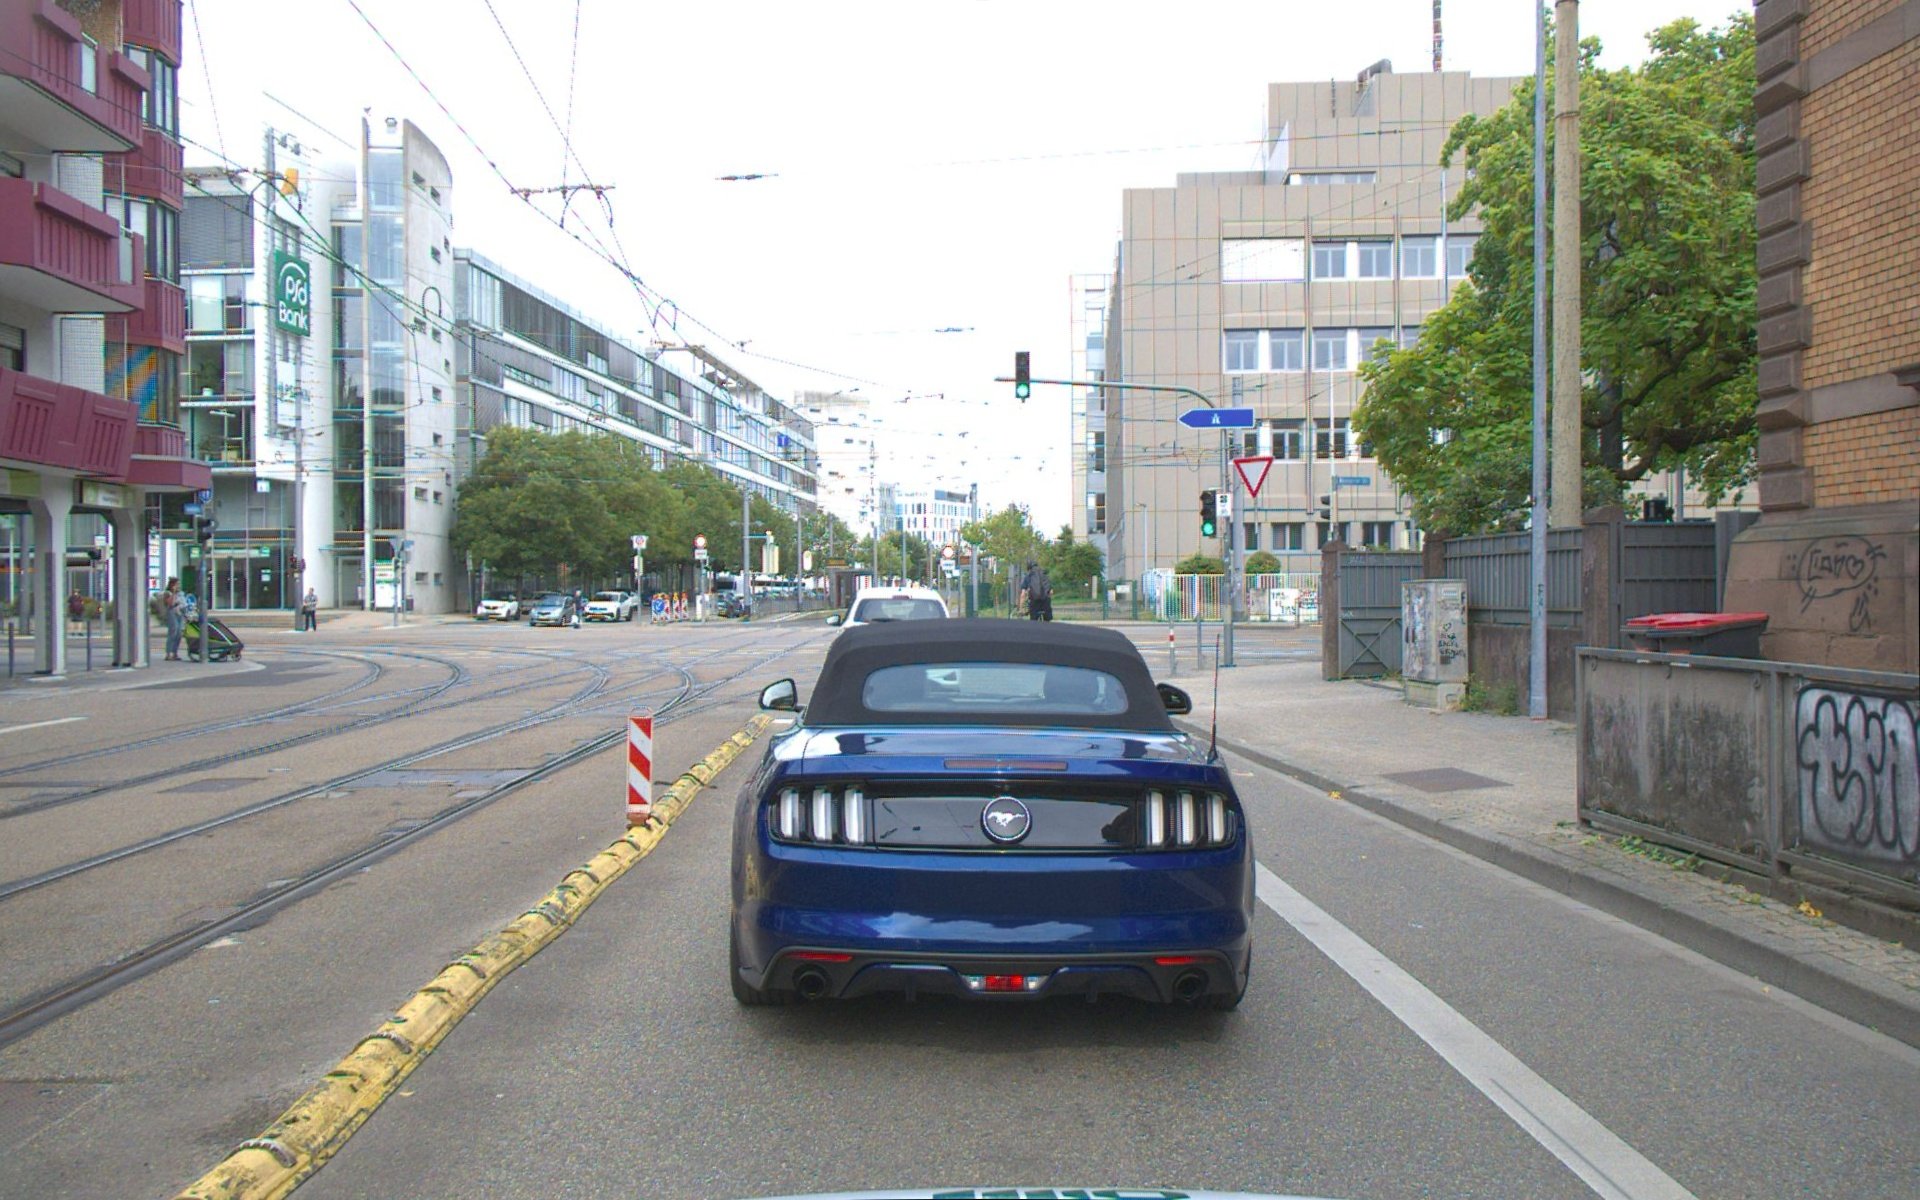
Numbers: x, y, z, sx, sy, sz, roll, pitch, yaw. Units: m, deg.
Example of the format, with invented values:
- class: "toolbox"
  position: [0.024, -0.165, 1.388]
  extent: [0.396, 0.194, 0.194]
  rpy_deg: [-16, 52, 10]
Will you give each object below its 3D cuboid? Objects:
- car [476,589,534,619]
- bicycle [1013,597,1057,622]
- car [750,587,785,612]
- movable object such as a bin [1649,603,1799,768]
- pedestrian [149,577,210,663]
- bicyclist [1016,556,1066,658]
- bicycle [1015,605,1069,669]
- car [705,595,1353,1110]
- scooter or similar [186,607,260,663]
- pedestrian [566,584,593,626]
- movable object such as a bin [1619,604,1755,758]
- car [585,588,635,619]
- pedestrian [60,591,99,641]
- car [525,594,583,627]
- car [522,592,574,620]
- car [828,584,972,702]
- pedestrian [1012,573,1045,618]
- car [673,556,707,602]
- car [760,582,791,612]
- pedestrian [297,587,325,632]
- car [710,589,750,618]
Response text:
- class: "car"
  position: [-24.879, 0.207, 90.633]
  extent: [1.791, 1.584, 4.218]
  rpy_deg: [1, 1, 3]
- class: "bicycle"
  position: [3.275, 0.424, 72.390]
  extent: [0.629, 0.998, 2.125]
  rpy_deg: [-1, -2, -42]
- class: "car"
  position: [-12.846, -0.042, 110.585]
  extent: [1.830, 1.634, 4.212]
  rpy_deg: [-1, 0, -1]
- class: "movable object such as a bin"
  position: [5.496, 0.597, 11.927]
  extent: [0.650, 1.101, 0.700]
  rpy_deg: [-4, 0, -6]
- class: "pedestrian"
  position: [-16.447, 0.411, 34.867]
  extent: [0.929, 1.774, 0.811]
  rpy_deg: [0, 0, -4]
- class: "bicyclist"
  position: [1.469, 0.123, 30.311]
  extent: [0.780, 1.816, 1.232]
  rpy_deg: [-1, 0, -3]
- class: "bicycle"
  position: [1.483, 0.663, 30.351]
  extent: [0.784, 1.105, 2.130]
  rpy_deg: [-1, 0, -3]
- class: "car"
  position: [0.182, 0.720, 6.873]
  extent: [1.838, 1.428, 4.282]
  rpy_deg: [1, 0, -1]
- class: "scooter or similar"
  position: [-15.565, 0.726, 34.955]
  extent: [1.172, 1.148, 0.946]
  rpy_deg: [0, 0, -3]
- class: "pedestrian"
  position: [-17.632, 0.231, 76.600]
  extent: [0.968, 1.888, 0.902]
  rpy_deg: [-1, 0, 4]
- class: "movable object such as a bin"
  position: [5.544, 0.603, 12.644]
  extent: [0.638, 1.101, 0.677]
  rpy_deg: [-4, 0, -6]
- class: "car"
  position: [-19.580, 0.176, 92.603]
  extent: [1.679, 1.689, 4.135]
  rpy_deg: [1, 1, 3]
- class: "pedestrian"
  position: [-30.605, 0.559, 57.509]
  extent: [0.915, 1.700, 0.766]
  rpy_deg: [-1, 0, 11]
- class: "car"
  position: [-20.245, 0.523, 82.683]
  extent: [1.633, 1.533, 4.236]
  rpy_deg: [1, 1, 3]
- class: "car"
  position: [-24.316, 0.350, 97.775]
  extent: [1.791, 1.584, 4.218]
  rpy_deg: [1, 1, 3]
- class: "car"
  position: [-0.925, 0.533, 23.178]
  extent: [1.799, 1.464, 4.183]
  rpy_deg: [-1, 0, -5]
- class: "pedestrian"
  position: [2.964, -0.188, 71.340]
  extent: [1.068, 1.931, 0.898]
  rpy_deg: [-1, 0, 36]
- class: "car"
  position: [-22.022, -1.708, 135.023]
  extent: [1.945, 3.700, 4.513]
  rpy_deg: [1, 0, 0]
- class: "car"
  position: [-12.905, -0.212, 115.752]
  extent: [1.749, 2.022, 4.120]
  rpy_deg: [-1, 0, -1]
- class: "pedestrian"
  position: [-28.116, 0.405, 71.696]
  extent: [0.816, 1.897, 0.766]
  rpy_deg: [-1, 0, 11]
- class: "car"
  position: [-13.464, 0.168, 97.041]
  extent: [1.841, 1.657, 4.086]
  rpy_deg: [-1, 0, -1]
